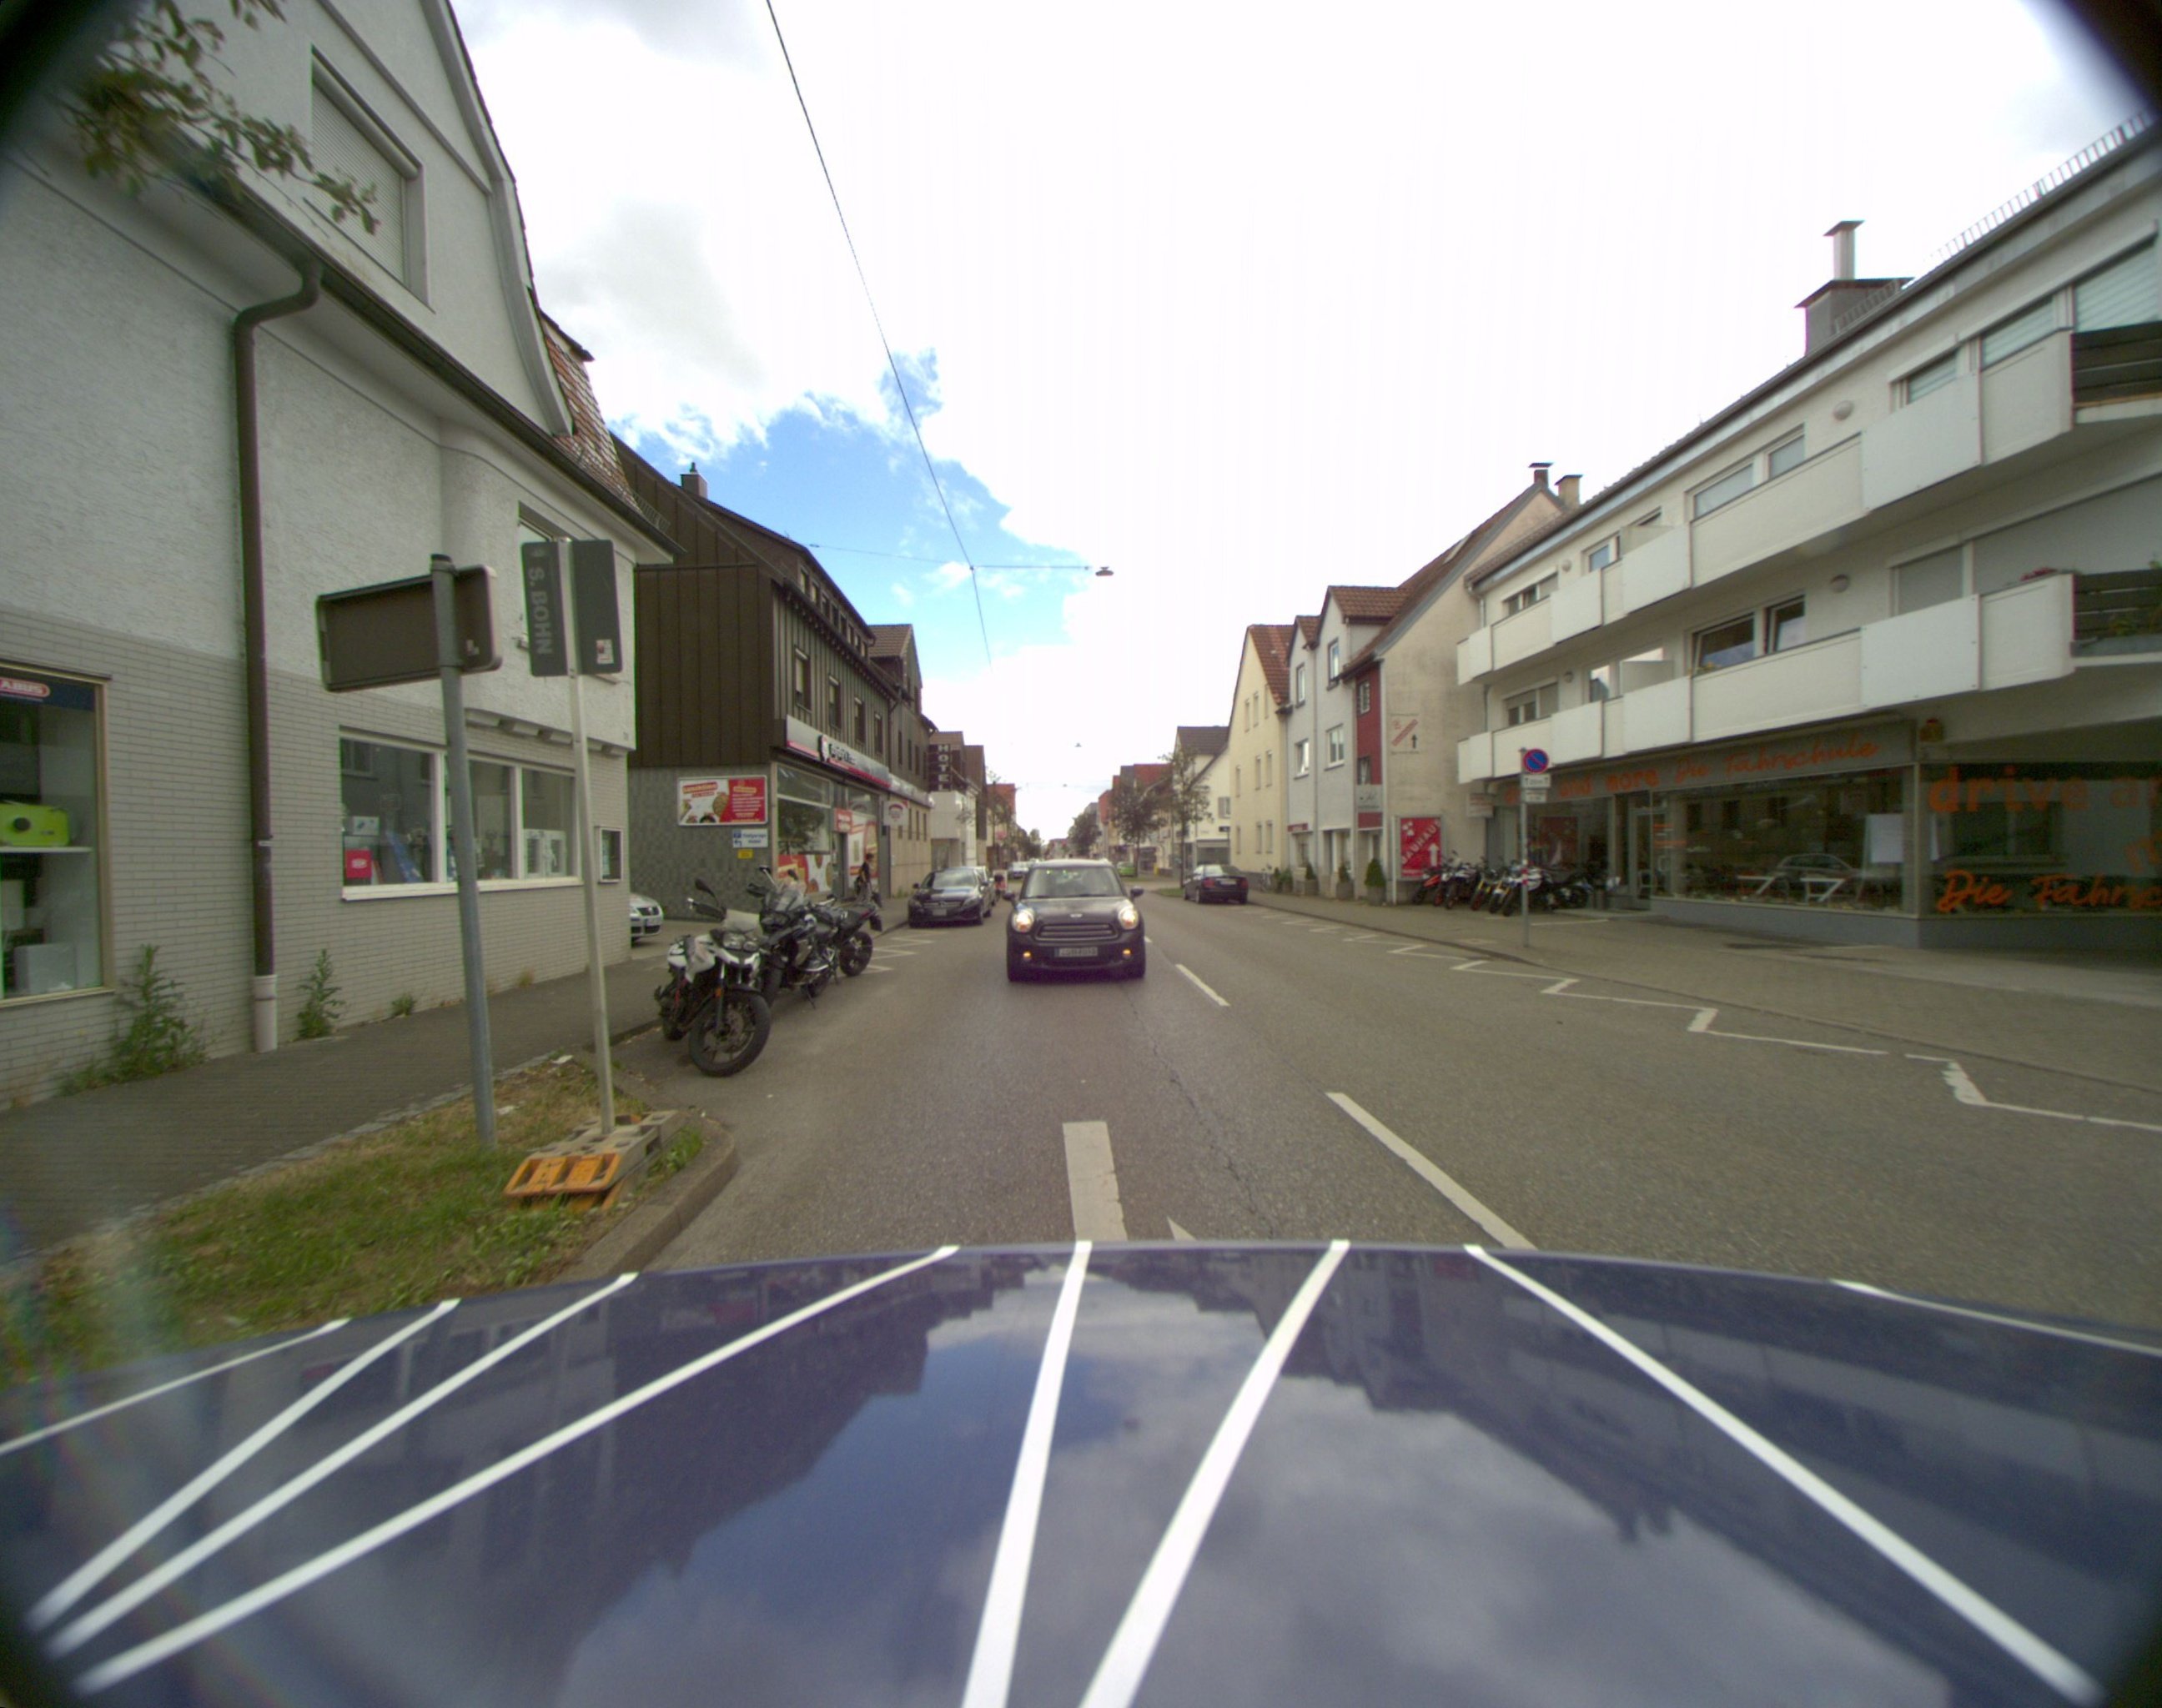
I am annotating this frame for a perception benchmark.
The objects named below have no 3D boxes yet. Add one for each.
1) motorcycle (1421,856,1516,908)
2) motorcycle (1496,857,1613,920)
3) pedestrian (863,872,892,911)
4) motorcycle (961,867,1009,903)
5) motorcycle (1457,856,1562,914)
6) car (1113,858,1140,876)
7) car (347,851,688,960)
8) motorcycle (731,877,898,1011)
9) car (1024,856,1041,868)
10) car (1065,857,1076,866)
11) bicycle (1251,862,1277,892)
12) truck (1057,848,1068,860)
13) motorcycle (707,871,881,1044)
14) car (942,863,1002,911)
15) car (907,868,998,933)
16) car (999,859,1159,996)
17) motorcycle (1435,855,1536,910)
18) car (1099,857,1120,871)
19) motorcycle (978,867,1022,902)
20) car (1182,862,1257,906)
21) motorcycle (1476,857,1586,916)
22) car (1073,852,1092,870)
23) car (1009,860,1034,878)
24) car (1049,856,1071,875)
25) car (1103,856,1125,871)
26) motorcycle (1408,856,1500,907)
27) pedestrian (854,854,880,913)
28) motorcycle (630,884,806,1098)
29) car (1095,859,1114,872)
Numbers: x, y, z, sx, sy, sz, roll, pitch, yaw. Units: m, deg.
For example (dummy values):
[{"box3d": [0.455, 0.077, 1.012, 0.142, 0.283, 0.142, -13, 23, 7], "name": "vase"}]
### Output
[{"box3d": [10.439, 0.746, 20.488, 2.231, 1.258, 0.613, -3, 1, -3], "name": "motorcycle"}, {"box3d": [10.624, 0.757, 17.068, 2.231, 1.258, 0.613, -3, 1, -3], "name": "motorcycle"}, {"box3d": [-6.331, 1.165, 23.702, 0.742, 1.204, 0.643, 0, 1, -2], "name": "pedestrian"}, {"box3d": [-3.760, 1.200, 29.902, 1.874, 1.284, 0.531, -2, 1, -40], "name": "motorcycle"}, {"box3d": [10.593, 0.754, 18.795, 2.231, 1.258, 0.613, -3, 1, -3], "name": "motorcycle"}, {"box3d": [3.778, 1.084, 63.568, 1.716, 1.389, 3.899, -2, 0, -3], "name": "car"}, {"box3d": [-9.132, 0.798, 12.616, 4.209, 1.579, 1.855, 2, 0, -2], "name": "car"}, {"box3d": [-3.343, 1.063, 9.867, 0.648, 1.432, 2.472, -1, 0, 17], "name": "motorcycle"}, {"box3d": [-5.874, 0.911, 92.091, 1.795, 1.396, 3.948, 1, 0, -1], "name": "car"}, {"box3d": [-1.805, 1.225, 126.405, 1.780, 1.446, 3.999, -2, 0, -1], "name": "car"}, {"box3d": [7.851, 0.962, 32.650, 0.515, 1.189, 2.023, -2, 0, -3], "name": "bicycle"}, {"box3d": [-4.654, 0.010, 191.138, 2.800, 3.020, 8.249, -2, 0, -1], "name": "truck"}, {"box3d": [-2.998, 0.991, 8.320, 0.672, 1.516, 2.598, -1, 0, 5], "name": "motorcycle"}, {"box3d": [-3.708, 1.082, 26.465, 1.645, 1.433, 3.901, -2, 0, -3], "name": "car"}, {"box3d": [-3.300, 1.153, 20.329, 1.830, 1.400, 4.564, -2, 0, -3], "name": "car"}, {"box3d": [-0.151, 0.876, 11.316, 1.855, 1.527, 4.735, -1, 0, -3], "name": "car"}, {"box3d": [10.450, 0.721, 19.668, 2.231, 1.258, 0.699, -3, 1, -3], "name": "motorcycle"}, {"box3d": [2.935, 0.986, 79.228, 1.716, 1.389, 3.899, -2, 0, -3], "name": "car"}, {"box3d": [-3.098, 1.161, 29.268, 1.589, 1.284, 0.500, -2, 1, -31], "name": "motorcycle"}, {"box3d": [4.981, 1.043, 27.950, 1.792, 1.409, 4.340, 0, 0, -2], "name": "car"}, {"box3d": [10.639, 0.755, 17.985, 2.231, 1.258, 0.613, -3, 1, -3], "name": "motorcycle"}, {"box3d": [0.119, 0.718, 82.791, 1.855, 1.932, 4.489, 1, 0, -3], "name": "car"}, {"box3d": [-4.811, 1.180, 62.058, 1.795, 1.356, 3.948, 1, 0, -1], "name": "car"}, {"box3d": [-1.879, 1.055, 69.495, 1.855, 1.615, 4.736, -1, 0, -1], "name": "car"}, {"box3d": [3.190, 0.923, 74.245, 1.716, 1.389, 3.899, -2, 0, -3], "name": "car"}, {"box3d": [10.391, 0.750, 21.197, 2.231, 1.258, 0.613, -3, 1, -3], "name": "motorcycle"}, {"box3d": [-6.433, 0.879, 22.819, 0.644, 1.730, 0.742, 0, 1, -7], "name": "pedestrian"}, {"box3d": [-3.049, 0.964, 6.229, 0.777, 1.373, 2.237, -2, 1, -38], "name": "motorcycle"}, {"box3d": [2.610, 1.275, 84.868, 1.716, 1.389, 3.899, -2, 0, -3], "name": "car"}]
